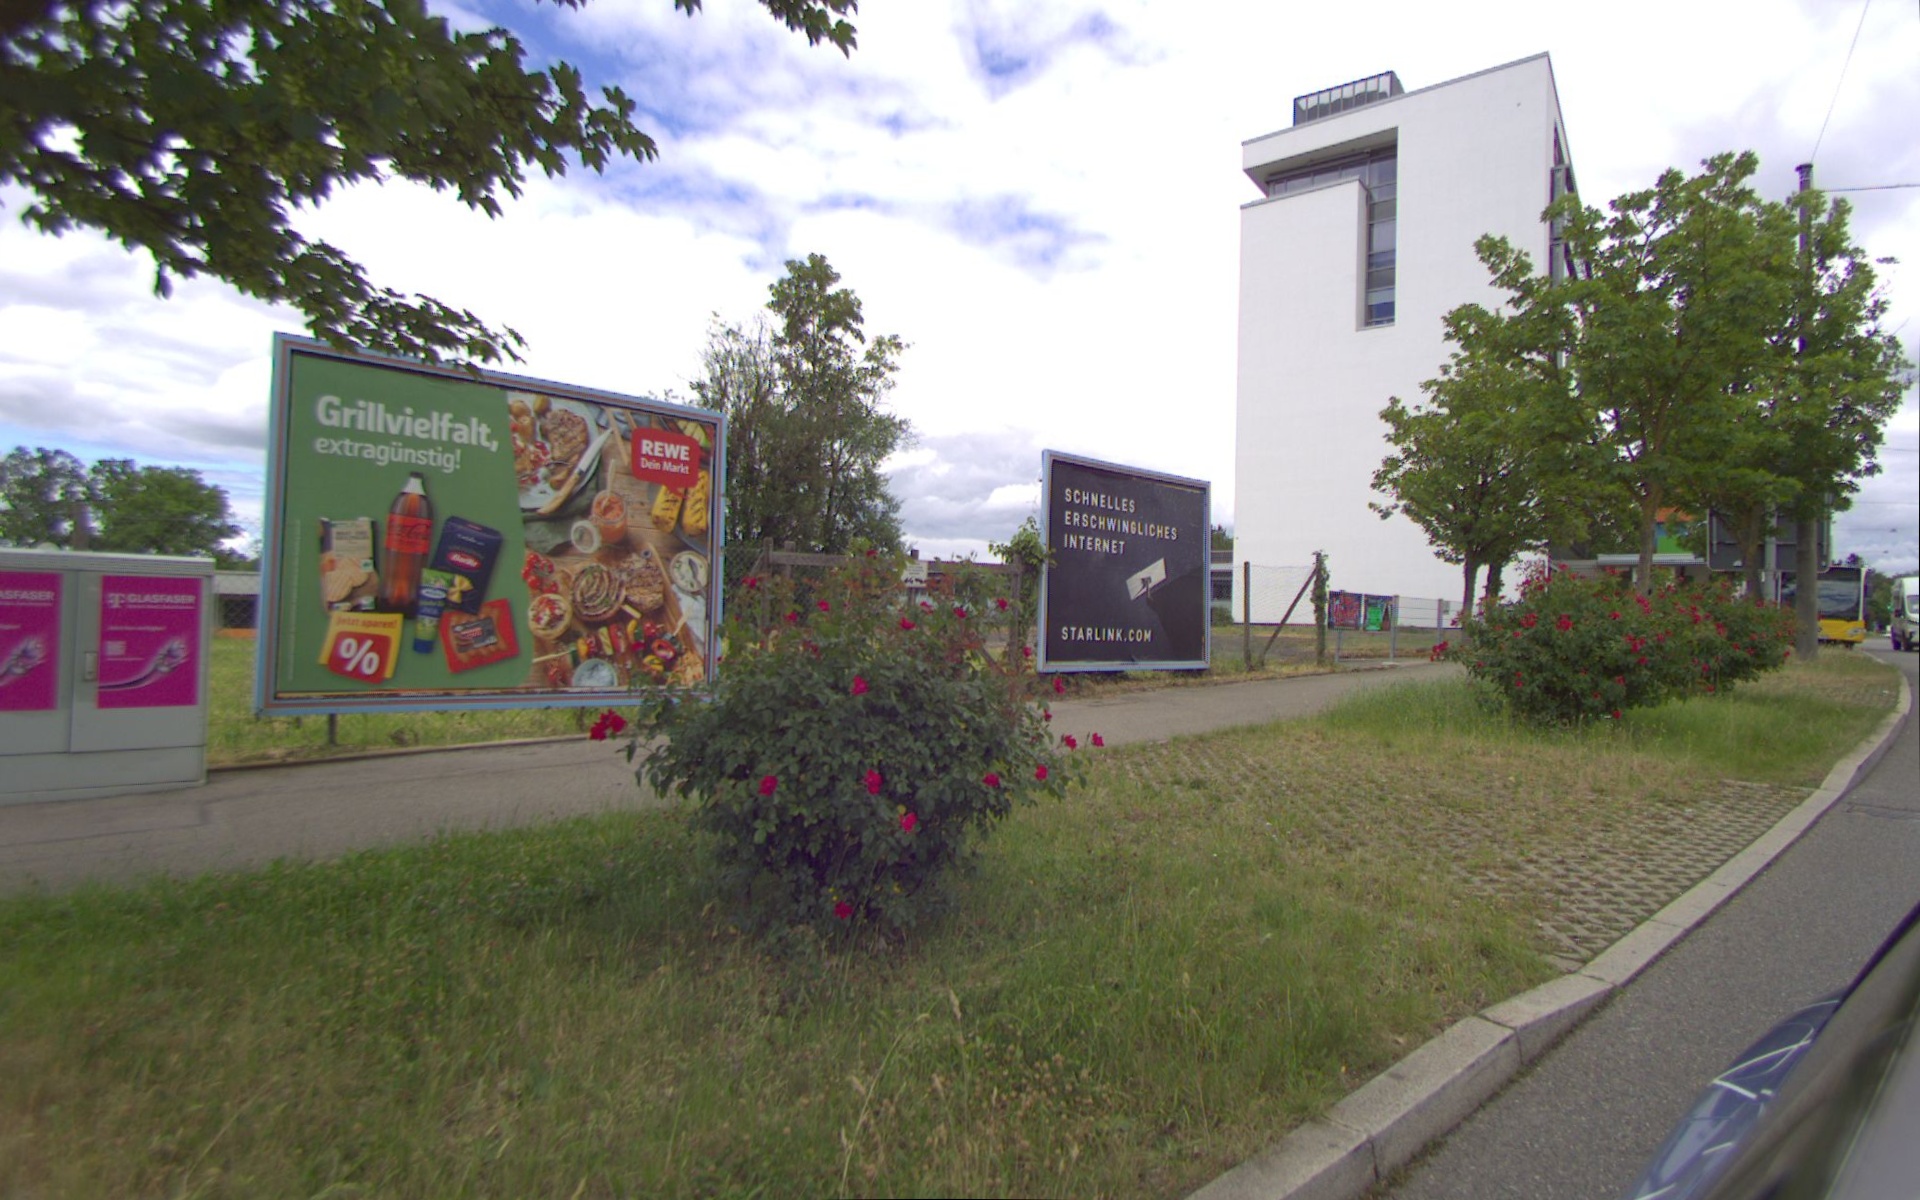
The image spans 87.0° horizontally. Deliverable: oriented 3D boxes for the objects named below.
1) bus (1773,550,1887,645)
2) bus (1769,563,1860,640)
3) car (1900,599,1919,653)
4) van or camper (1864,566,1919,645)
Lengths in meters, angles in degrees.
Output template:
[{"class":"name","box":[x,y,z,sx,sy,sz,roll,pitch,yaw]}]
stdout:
[{"class":"bus","box":[33.580,-0.059,39.349,2.707,3.203,9.001,4,1,38]},{"class":"bus","box":[38.995,0.107,46.402,2.707,3.147,8.746,3,1,38]},{"class":"car","box":[27.748,0.751,27.449,1.841,1.544,3.973,1,0,20]},{"class":"van or camper","box":[35.867,0.241,37.372,2.262,2.740,6.920,1,0,30]}]
